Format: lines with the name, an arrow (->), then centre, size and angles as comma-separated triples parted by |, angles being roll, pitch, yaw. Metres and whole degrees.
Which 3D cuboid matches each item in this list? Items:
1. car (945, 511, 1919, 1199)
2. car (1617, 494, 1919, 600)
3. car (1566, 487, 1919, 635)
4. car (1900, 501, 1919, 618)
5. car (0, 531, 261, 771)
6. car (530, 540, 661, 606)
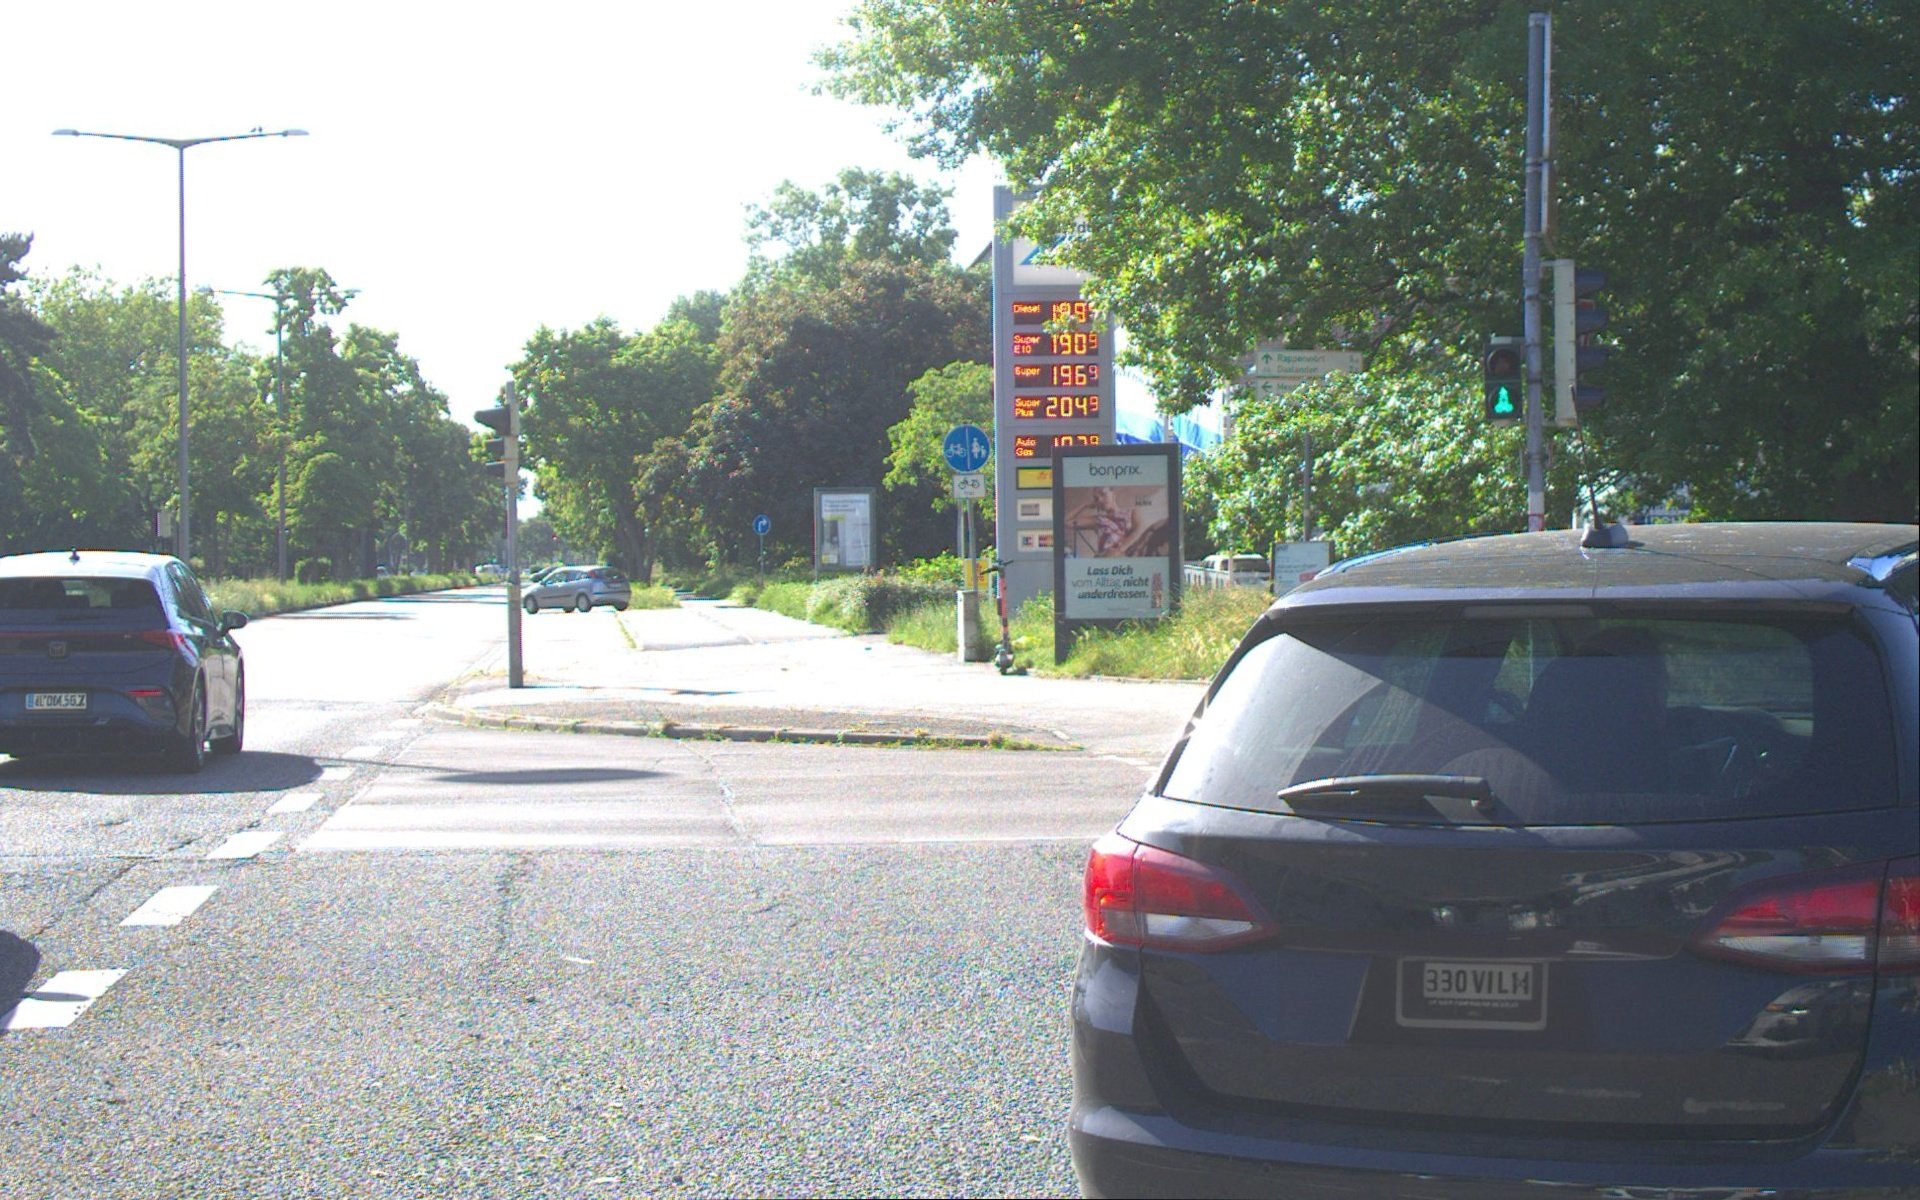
car -> 1.729, 0.572, 7.058 | 1.764, 1.486, 4.285 | 1, 2, 27
car -> 11.244, -0.716, 47.168 | 3.985, 1.330, 1.800 | 1, 0, -17
car -> 12.308, -0.578, 52.519 | 5.634, 2.092, 2.000 | 1, 0, -7
car -> 14.397, -0.475, 44.616 | 3.985, 1.507, 1.532 | 1, 0, -16
car -> -6.215, 0.324, 24.918 | 1.836, 1.583, 4.365 | 0, 0, -6
car -> -11.643, -0.868, 109.604 | 3.997, 2.007, 1.995 | 1, 0, 44
